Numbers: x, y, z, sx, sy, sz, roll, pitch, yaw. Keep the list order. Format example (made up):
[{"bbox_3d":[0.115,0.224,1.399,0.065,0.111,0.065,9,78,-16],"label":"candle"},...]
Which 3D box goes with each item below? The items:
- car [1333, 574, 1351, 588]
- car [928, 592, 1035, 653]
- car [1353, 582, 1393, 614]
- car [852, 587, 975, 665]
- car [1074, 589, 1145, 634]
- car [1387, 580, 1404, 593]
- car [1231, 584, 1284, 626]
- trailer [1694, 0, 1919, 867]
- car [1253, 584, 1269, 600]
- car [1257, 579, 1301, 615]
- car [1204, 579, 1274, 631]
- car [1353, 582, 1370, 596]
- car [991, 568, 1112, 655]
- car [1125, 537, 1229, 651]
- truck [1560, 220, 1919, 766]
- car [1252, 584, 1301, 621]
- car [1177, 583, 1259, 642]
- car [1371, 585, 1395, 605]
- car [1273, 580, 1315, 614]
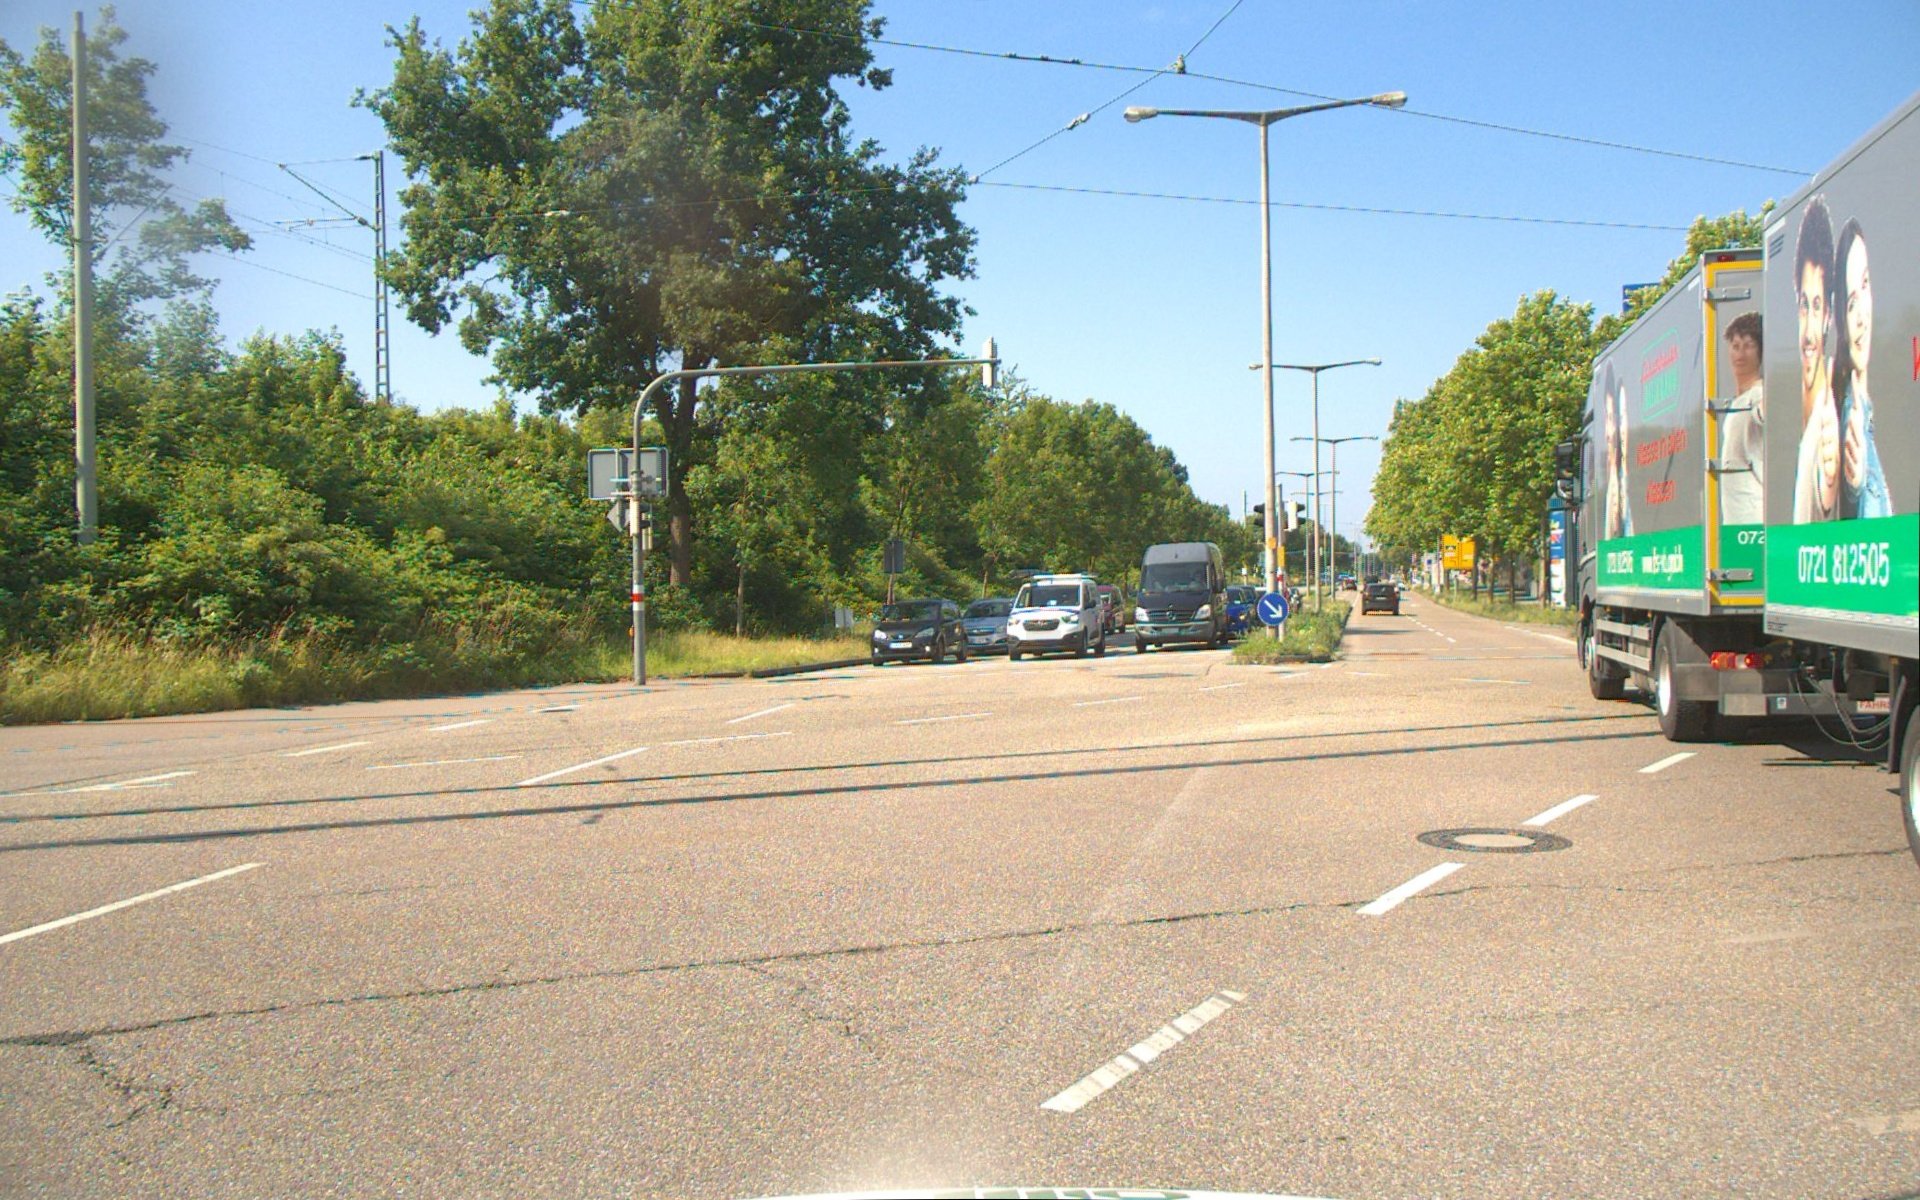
[{"bbox_3d":[46.125,-2.278,199.729,1.951,1.612,4.459,1,0,14],"label":"car"},{"bbox_3d":[0.646,0.594,45.066,1.951,1.567,4.239,-1,0,14],"label":"car"},{"bbox_3d":[21.693,-0.092,86.852,1.951,1.612,4.459,1,0,14],"label":"car"},{"bbox_3d":[-1.001,0.577,38.089,1.870,1.670,3.740,-1,0,14],"label":"car"},{"bbox_3d":[5.663,0.416,62.147,1.951,1.612,4.459,1,0,14],"label":"car"},{"bbox_3d":[54.480,-1.680,206.893,1.951,1.612,4.459,1,0,14],"label":"car"},{"bbox_3d":[12.734,0.208,70.581,1.951,1.668,4.003,1,0,14],"label":"car"},{"bbox_3d":[5.892,-0.765,8.229,2.678,3.944,7.742,0,0,13],"label":"trailer"},{"bbox_3d":[40.609,-1.042,223.159,1.848,2.049,4.003,1,0,14],"label":"car"},{"bbox_3d":[15.764,-0.153,81.621,1.951,1.668,4.003,1,0,14],"label":"car"},{"bbox_3d":[9.399,0.167,55.454,1.951,1.612,4.003,1,0,14],"label":"car"},{"bbox_3d":[48.458,-1.267,199.458,1.951,1.612,4.459,1,0,14],"label":"car"},{"bbox_3d":[2.229,0.259,38.909,1.951,1.903,4.777,-1,0,14],"label":"car"},{"bbox_3d":[5.471,-0.129,41.170,1.951,2.653,5.137,-1,0,14],"label":"car"},{"bbox_3d":[7.823,-0.776,16.280,2.671,3.957,8.729,0,0,14],"label":"truck"},{"bbox_3d":[14.692,0.108,76.606,1.951,1.612,4.003,1,0,14],"label":"car"},{"bbox_3d":[7.583,0.354,48.332,1.951,1.613,4.003,-2,0,14],"label":"car"},{"bbox_3d":[36.078,-0.422,140.996,1.951,1.612,4.459,1,0,14],"label":"car"},{"bbox_3d":[17.620,-0.147,87.137,1.951,1.668,4.003,1,0,14],"label":"car"}]
